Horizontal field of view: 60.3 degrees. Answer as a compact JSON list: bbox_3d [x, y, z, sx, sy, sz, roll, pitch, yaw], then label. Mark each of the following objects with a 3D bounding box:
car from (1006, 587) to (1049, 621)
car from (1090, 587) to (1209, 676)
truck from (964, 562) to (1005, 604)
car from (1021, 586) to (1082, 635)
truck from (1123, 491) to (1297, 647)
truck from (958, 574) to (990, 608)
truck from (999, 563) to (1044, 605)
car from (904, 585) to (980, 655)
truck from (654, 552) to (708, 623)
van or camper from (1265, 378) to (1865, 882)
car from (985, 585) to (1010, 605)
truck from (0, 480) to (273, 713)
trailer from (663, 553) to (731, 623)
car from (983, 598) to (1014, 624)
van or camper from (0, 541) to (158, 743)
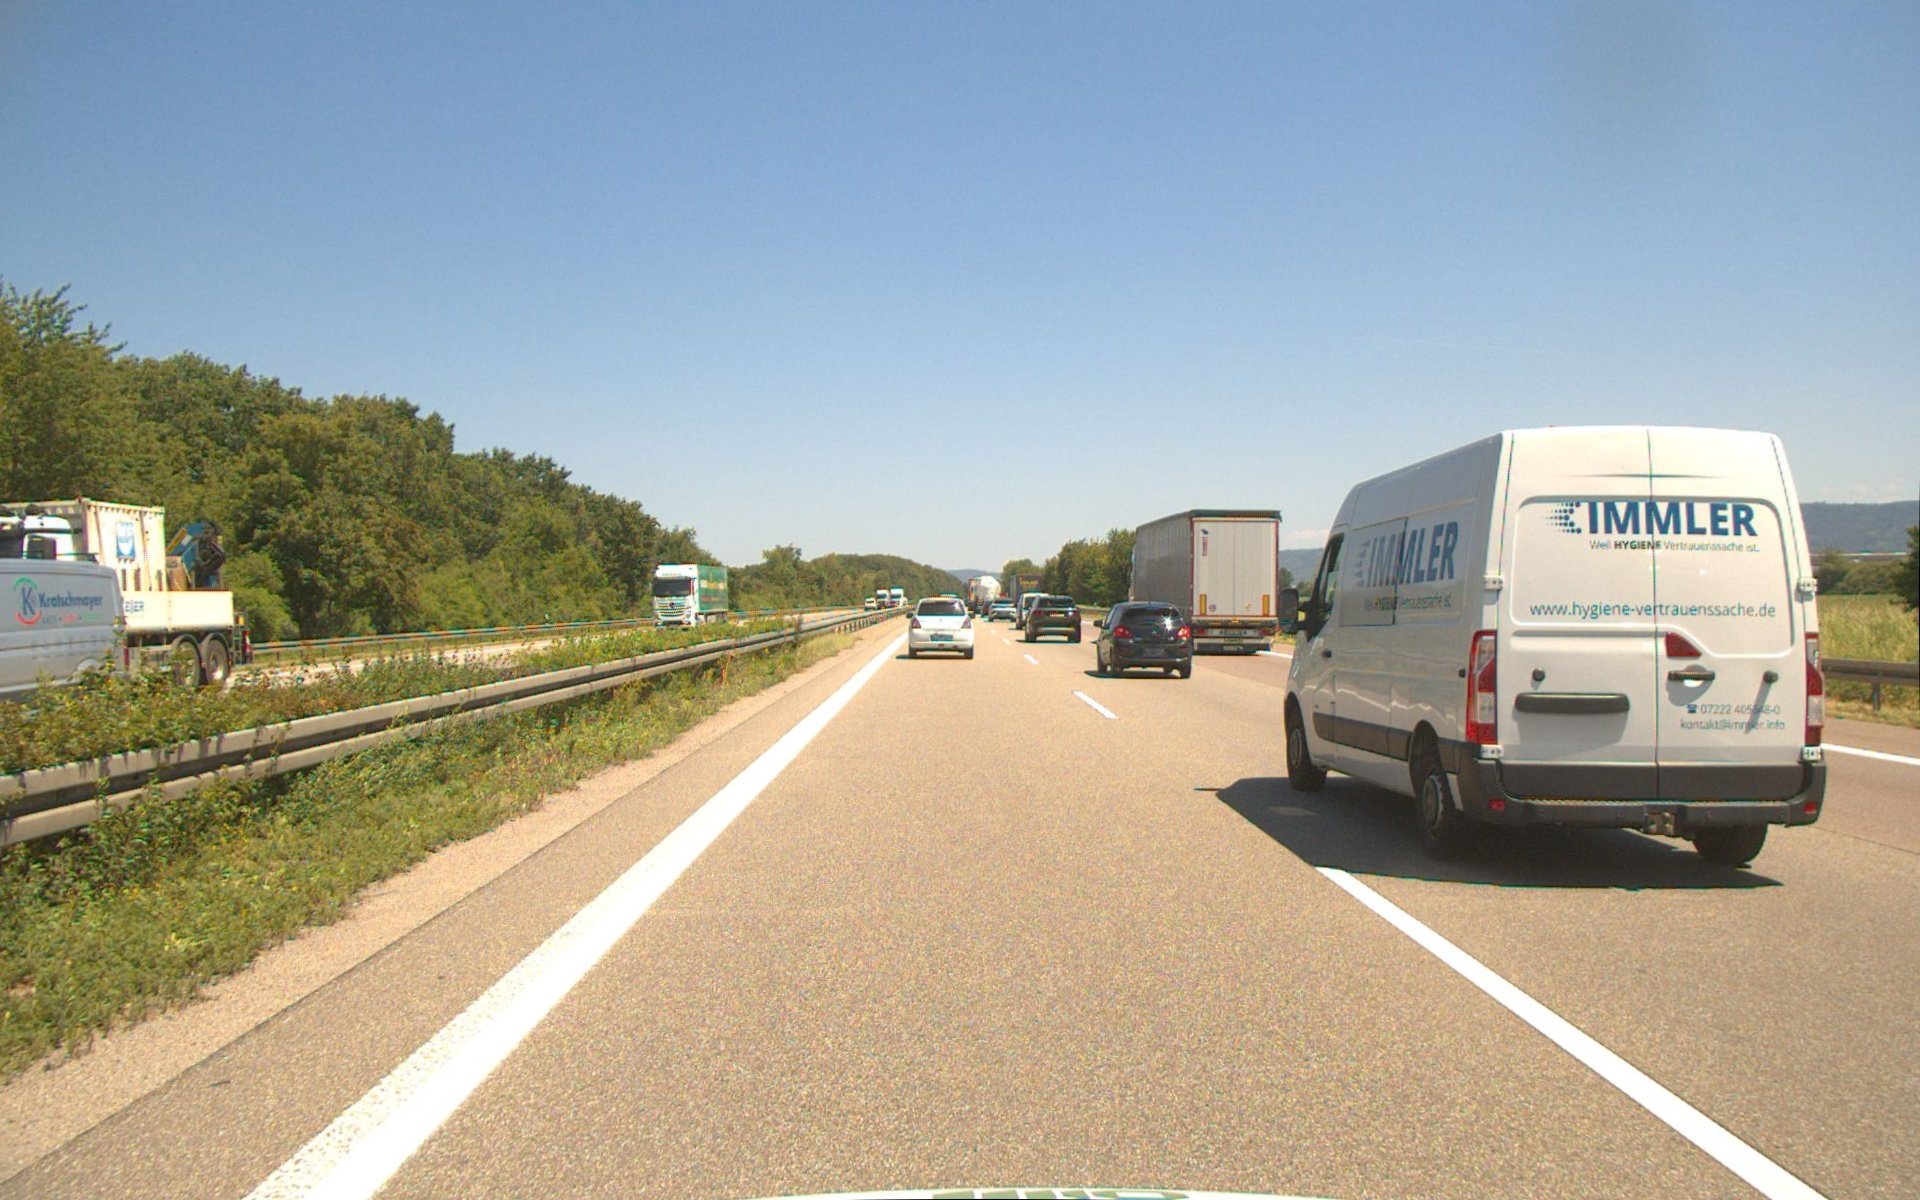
[{"bbox_3d":[3.400,0.178,84.024,1.820,1.681,3.998,0,0,-2],"label":"car"},{"bbox_3d":[3.791,0.594,33.770,1.820,1.681,3.998,0,0,-2],"label":"car"},{"bbox_3d":[2.576,-1.780,178.367,3.193,4.282,16.833,1,0,-3],"label":"truck"},{"bbox_3d":[3.270,0.350,59.753,1.820,1.681,3.998,0,0,-2],"label":"car"},{"bbox_3d":[7.784,-0.905,54.446,3.016,4.282,16.842,1,0,0],"label":"truck"},{"bbox_3d":[1.764,-1.222,217.580,3.193,4.282,16.833,1,0,-3],"label":"truck"},{"bbox_3d":[6.568,-1.690,179.553,3.193,4.282,16.833,1,0,-3],"label":"truck"},{"bbox_3d":[-0.509,0.488,42.905,1.820,1.681,3.998,1,0,-2],"label":"car"},{"bbox_3d":[-17.052,-0.768,101.288,2.367,4.165,5.880,1,0,-1],"label":"truck"},{"bbox_3d":[3.772,0.145,11.783,2.016,2.668,5.984,0,0,-1],"label":"van or camper"},{"bbox_3d":[3.167,-0.419,140.377,1.820,1.681,3.998,0,0,-2],"label":"car"},{"bbox_3d":[-16.708,-0.065,32.222,2.552,3.827,9.864,-2,0,-1],"label":"truck"},{"bbox_3d":[-17.150,-0.812,108.691,2.396,4.302,13.634,1,0,-1],"label":"trailer"},{"bbox_3d":[2.623,0.724,113.234,1.820,1.681,3.998,0,0,-2],"label":"car"},{"bbox_3d":[-12.396,0.525,20.432,2.016,2.394,6.075,-2,0,-1],"label":"van or camper"}]
